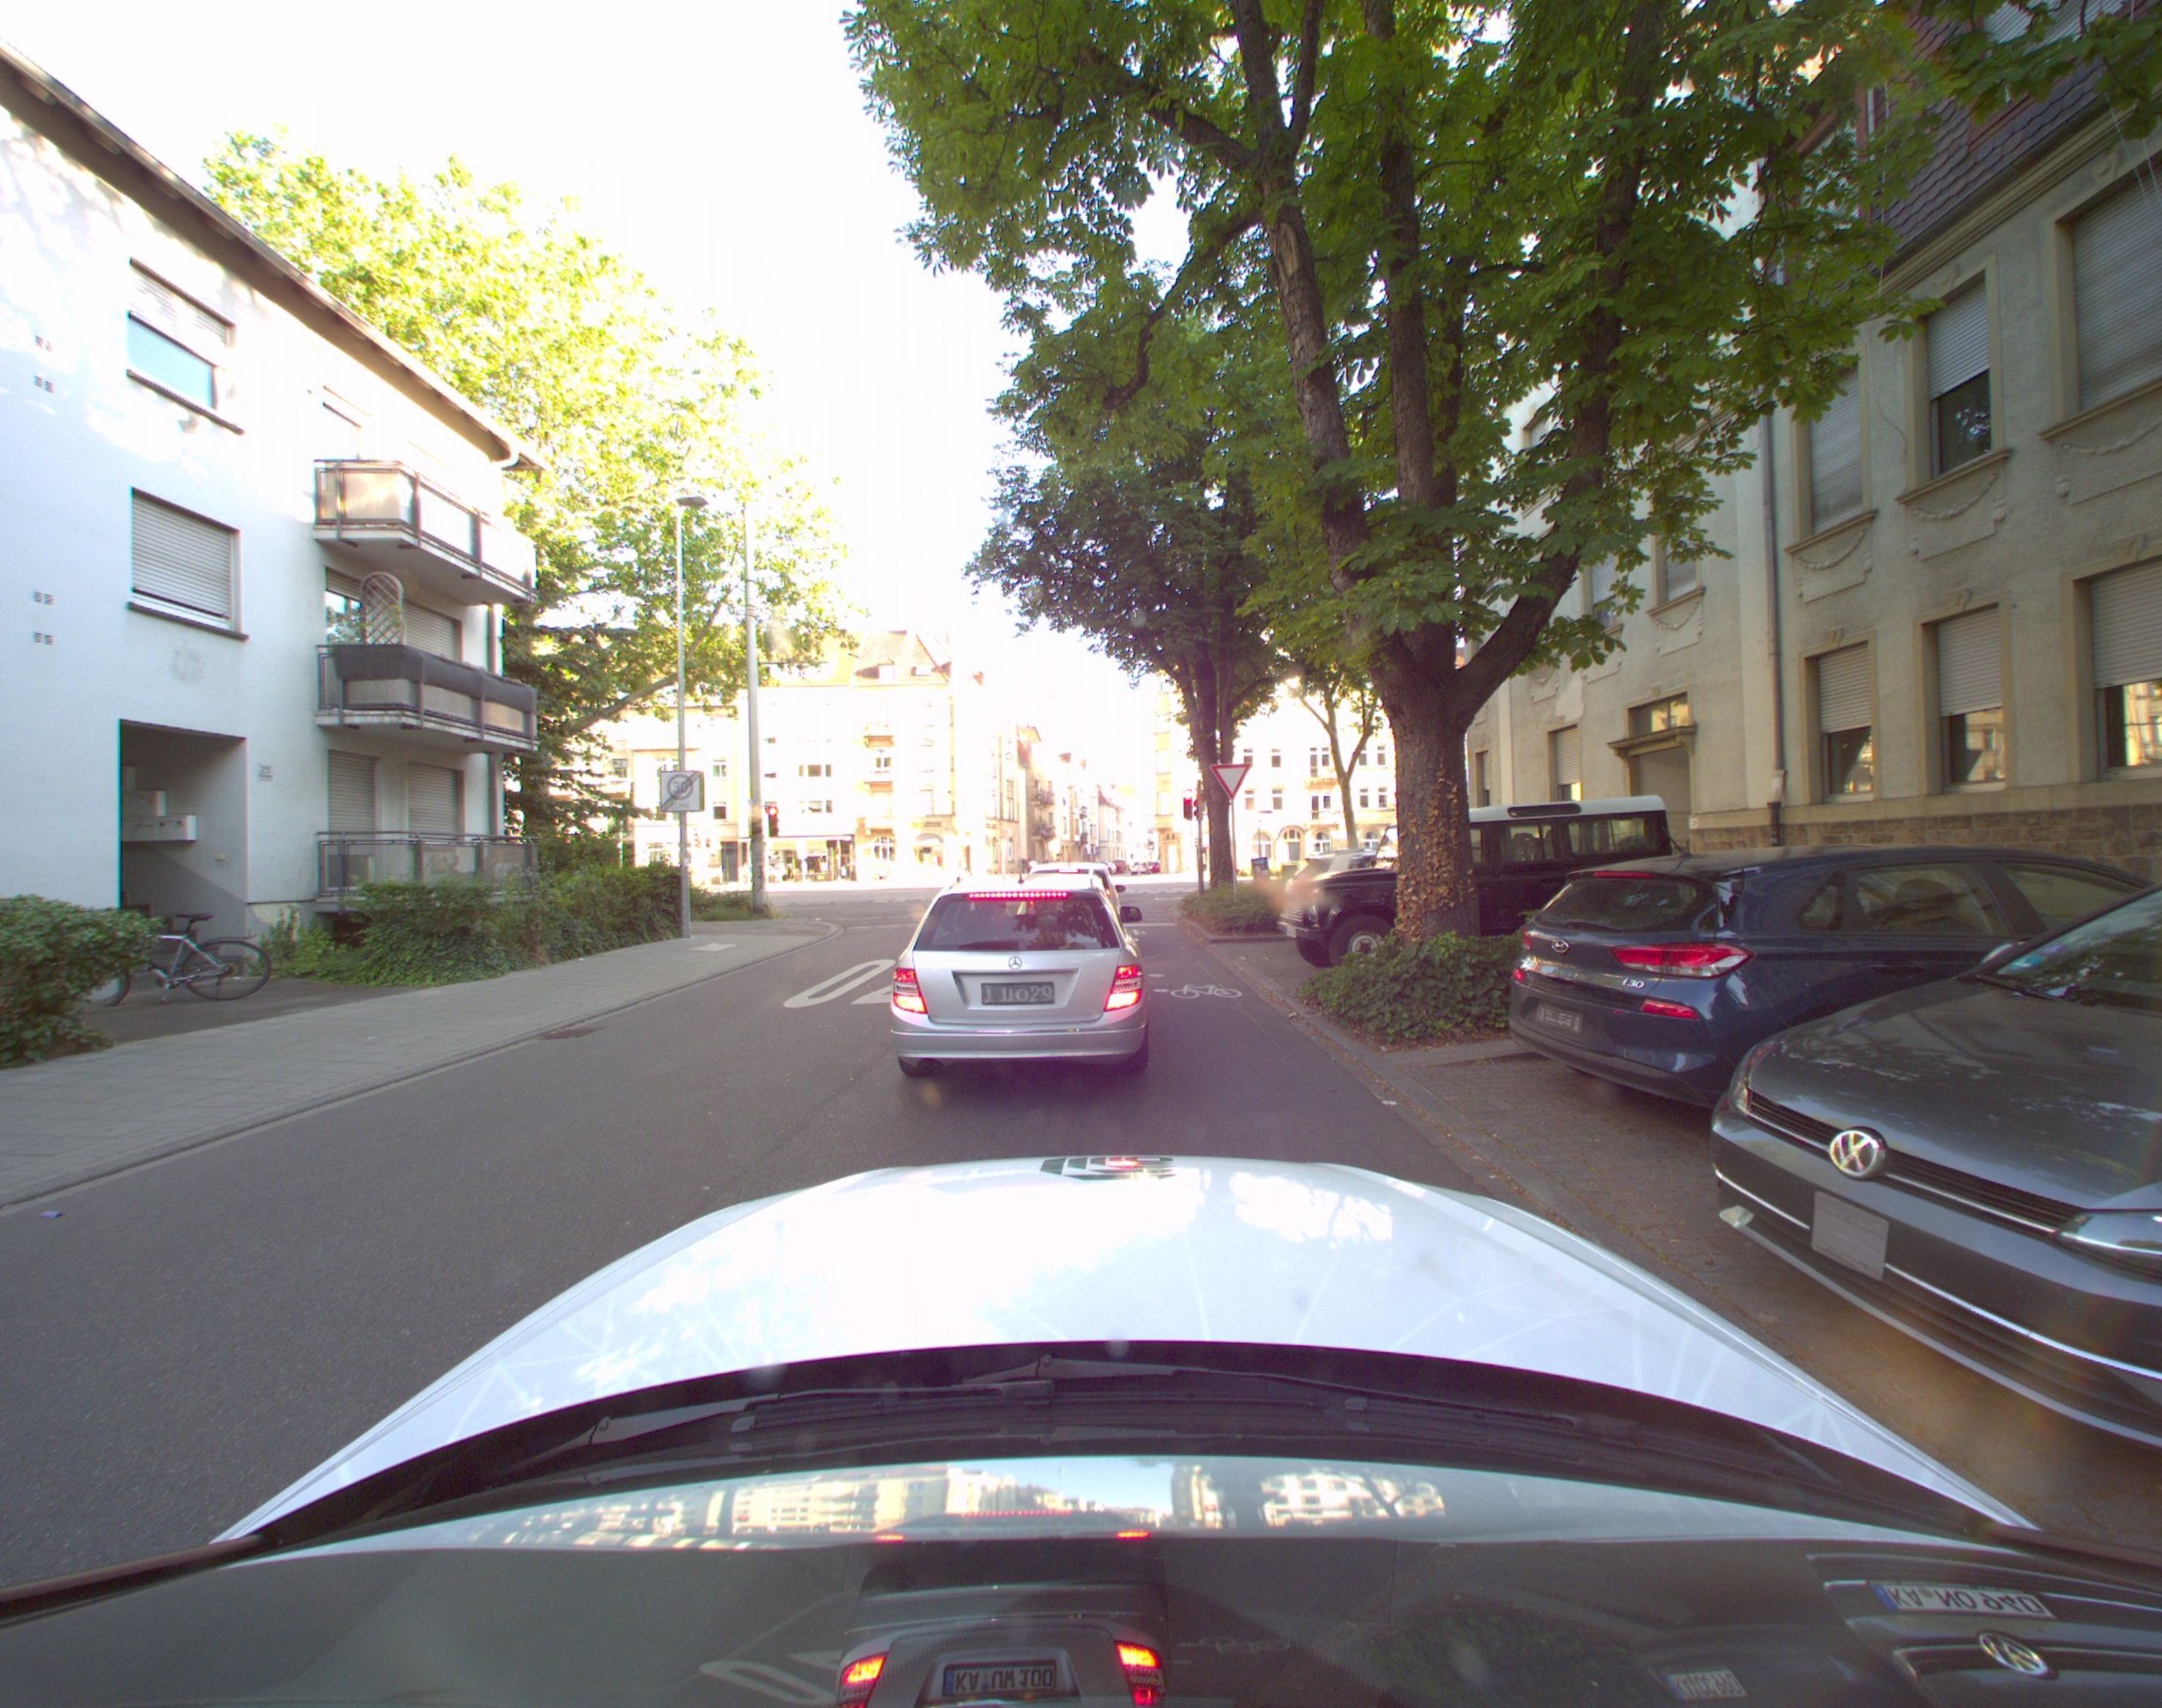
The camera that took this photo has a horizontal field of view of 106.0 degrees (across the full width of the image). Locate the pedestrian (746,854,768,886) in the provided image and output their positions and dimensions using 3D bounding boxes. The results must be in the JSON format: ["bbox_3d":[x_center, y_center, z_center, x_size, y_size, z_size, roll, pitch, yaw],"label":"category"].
[{"bbox_3d":[-25.702,1.284,64.580,1.343,2.464,1.059,-1,0,-3],"label":"pedestrian"}]

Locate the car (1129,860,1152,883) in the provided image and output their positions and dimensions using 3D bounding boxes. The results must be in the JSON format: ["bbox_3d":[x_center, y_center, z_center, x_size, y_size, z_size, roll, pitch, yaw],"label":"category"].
[{"bbox_3d":[6.306,1.809,85.897,2.018,2.279,4.012,-1,0,10],"label":"car"}]

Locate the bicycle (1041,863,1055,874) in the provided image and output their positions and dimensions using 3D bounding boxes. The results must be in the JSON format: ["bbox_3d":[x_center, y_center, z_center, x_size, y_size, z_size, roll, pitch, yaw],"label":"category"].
[{"bbox_3d":[-3.002,1.318,73.698,0.765,0.934,1.947,-1,0,13],"label":"bicycle"}]

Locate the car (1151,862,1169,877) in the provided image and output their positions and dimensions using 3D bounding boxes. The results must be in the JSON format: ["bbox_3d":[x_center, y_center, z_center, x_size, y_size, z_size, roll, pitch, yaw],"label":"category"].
[{"bbox_3d":[9.876,1.899,101.854,1.824,1.744,4.012,-1,0,10],"label":"car"}]

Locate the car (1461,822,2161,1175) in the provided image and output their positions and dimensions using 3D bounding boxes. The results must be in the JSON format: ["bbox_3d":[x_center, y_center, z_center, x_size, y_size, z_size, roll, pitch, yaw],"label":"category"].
[{"bbox_3d":[4.397,0.625,4.551,3.714,1.452,1.707,-3,-1,-2],"label":"car"}]

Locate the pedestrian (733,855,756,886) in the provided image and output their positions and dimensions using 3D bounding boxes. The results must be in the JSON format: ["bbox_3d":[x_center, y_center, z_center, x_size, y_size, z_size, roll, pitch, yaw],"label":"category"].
[{"bbox_3d":[-27.061,1.302,65.497,1.343,2.464,1.059,-1,0,-3],"label":"pedestrian"}]

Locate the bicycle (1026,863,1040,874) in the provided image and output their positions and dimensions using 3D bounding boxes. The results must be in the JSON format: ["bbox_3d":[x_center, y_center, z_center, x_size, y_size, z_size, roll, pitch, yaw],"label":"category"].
[{"bbox_3d":[-4.324,1.335,73.642,0.765,0.940,1.947,-1,0,13],"label":"bicycle"}]

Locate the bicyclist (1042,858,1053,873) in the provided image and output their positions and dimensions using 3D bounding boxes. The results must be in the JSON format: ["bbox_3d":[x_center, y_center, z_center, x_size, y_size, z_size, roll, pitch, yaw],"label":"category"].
[{"bbox_3d":[-3.007,1.024,73.701,0.765,1.290,0.755,-1,0,13],"label":"bicyclist"}]

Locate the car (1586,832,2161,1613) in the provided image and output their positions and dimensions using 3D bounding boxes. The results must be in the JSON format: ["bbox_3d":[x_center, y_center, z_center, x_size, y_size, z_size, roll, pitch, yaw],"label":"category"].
[{"bbox_3d":[4.032,0.642,2.380,4.042,1.452,1.722,-3,-1,-2],"label":"car"}]

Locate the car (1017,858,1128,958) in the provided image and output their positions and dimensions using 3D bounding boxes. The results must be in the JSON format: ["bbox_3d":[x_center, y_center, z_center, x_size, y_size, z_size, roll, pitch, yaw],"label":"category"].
[{"bbox_3d":[-0.108,0.807,14.167,1.614,1.447,4.344,-1,0,0],"label":"car"}]

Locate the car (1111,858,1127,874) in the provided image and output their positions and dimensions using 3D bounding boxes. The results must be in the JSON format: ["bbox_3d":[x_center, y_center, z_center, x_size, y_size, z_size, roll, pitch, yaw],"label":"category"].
[{"bbox_3d":[5.480,1.714,117.395,1.776,2.204,4.012,-1,0,10],"label":"car"}]

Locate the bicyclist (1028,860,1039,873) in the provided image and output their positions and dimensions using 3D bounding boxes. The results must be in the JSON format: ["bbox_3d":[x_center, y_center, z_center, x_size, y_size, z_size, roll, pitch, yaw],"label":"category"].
[{"bbox_3d":[-4.307,1.113,73.721,0.765,1.156,0.755,-1,0,13],"label":"bicyclist"}]

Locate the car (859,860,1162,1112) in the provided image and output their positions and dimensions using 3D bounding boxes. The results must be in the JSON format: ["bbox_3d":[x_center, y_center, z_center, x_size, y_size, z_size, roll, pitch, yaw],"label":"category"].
[{"bbox_3d":[-0.403,0.791,7.079,1.771,1.452,4.547,-1,0,0],"label":"car"}]

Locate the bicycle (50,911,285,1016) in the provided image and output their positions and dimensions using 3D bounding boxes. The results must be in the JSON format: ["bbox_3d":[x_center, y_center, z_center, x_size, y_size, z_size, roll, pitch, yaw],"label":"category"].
[{"bbox_3d":[-9.995,1.162,9.003,1.630,1.008,0.511,2,-2,-39],"label":"bicycle"}]

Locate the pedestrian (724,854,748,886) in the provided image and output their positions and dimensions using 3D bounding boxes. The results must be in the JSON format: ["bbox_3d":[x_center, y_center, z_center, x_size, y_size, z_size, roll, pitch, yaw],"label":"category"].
[{"bbox_3d":[-26.971,1.270,63.668,1.343,2.464,1.059,-1,0,-3],"label":"pedestrian"}]

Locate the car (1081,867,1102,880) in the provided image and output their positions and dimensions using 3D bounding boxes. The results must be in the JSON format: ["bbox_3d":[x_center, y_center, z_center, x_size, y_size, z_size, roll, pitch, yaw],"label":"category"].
[{"bbox_3d":[1.325,2.298,97.160,1.824,1.402,4.012,-1,0,10],"label":"car"}]

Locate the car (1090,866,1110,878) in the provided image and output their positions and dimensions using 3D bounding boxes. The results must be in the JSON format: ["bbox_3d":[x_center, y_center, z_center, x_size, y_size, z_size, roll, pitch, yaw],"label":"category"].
[{"bbox_3d":[2.396,2.250,102.630,1.824,1.402,4.012,-1,0,10],"label":"car"}]

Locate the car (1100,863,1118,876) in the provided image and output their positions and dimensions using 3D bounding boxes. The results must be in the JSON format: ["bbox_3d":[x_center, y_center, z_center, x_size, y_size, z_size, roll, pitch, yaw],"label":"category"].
[{"bbox_3d":[3.707,2.062,108.836,1.824,1.663,4.012,-1,0,10],"label":"car"}]

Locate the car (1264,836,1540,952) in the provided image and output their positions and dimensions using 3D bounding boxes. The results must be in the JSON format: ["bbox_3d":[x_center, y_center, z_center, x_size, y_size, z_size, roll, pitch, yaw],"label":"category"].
[{"bbox_3d":[5.030,0.609,13.085,3.714,1.570,1.707,-3,-1,-2],"label":"car"}]

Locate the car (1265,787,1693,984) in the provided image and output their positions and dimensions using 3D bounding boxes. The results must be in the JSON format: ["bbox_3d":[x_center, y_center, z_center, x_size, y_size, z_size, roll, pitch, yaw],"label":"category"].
[{"bbox_3d":[4.740,0.359,10.125,4.453,2.036,1.700,-3,-1,-2],"label":"car"}]
